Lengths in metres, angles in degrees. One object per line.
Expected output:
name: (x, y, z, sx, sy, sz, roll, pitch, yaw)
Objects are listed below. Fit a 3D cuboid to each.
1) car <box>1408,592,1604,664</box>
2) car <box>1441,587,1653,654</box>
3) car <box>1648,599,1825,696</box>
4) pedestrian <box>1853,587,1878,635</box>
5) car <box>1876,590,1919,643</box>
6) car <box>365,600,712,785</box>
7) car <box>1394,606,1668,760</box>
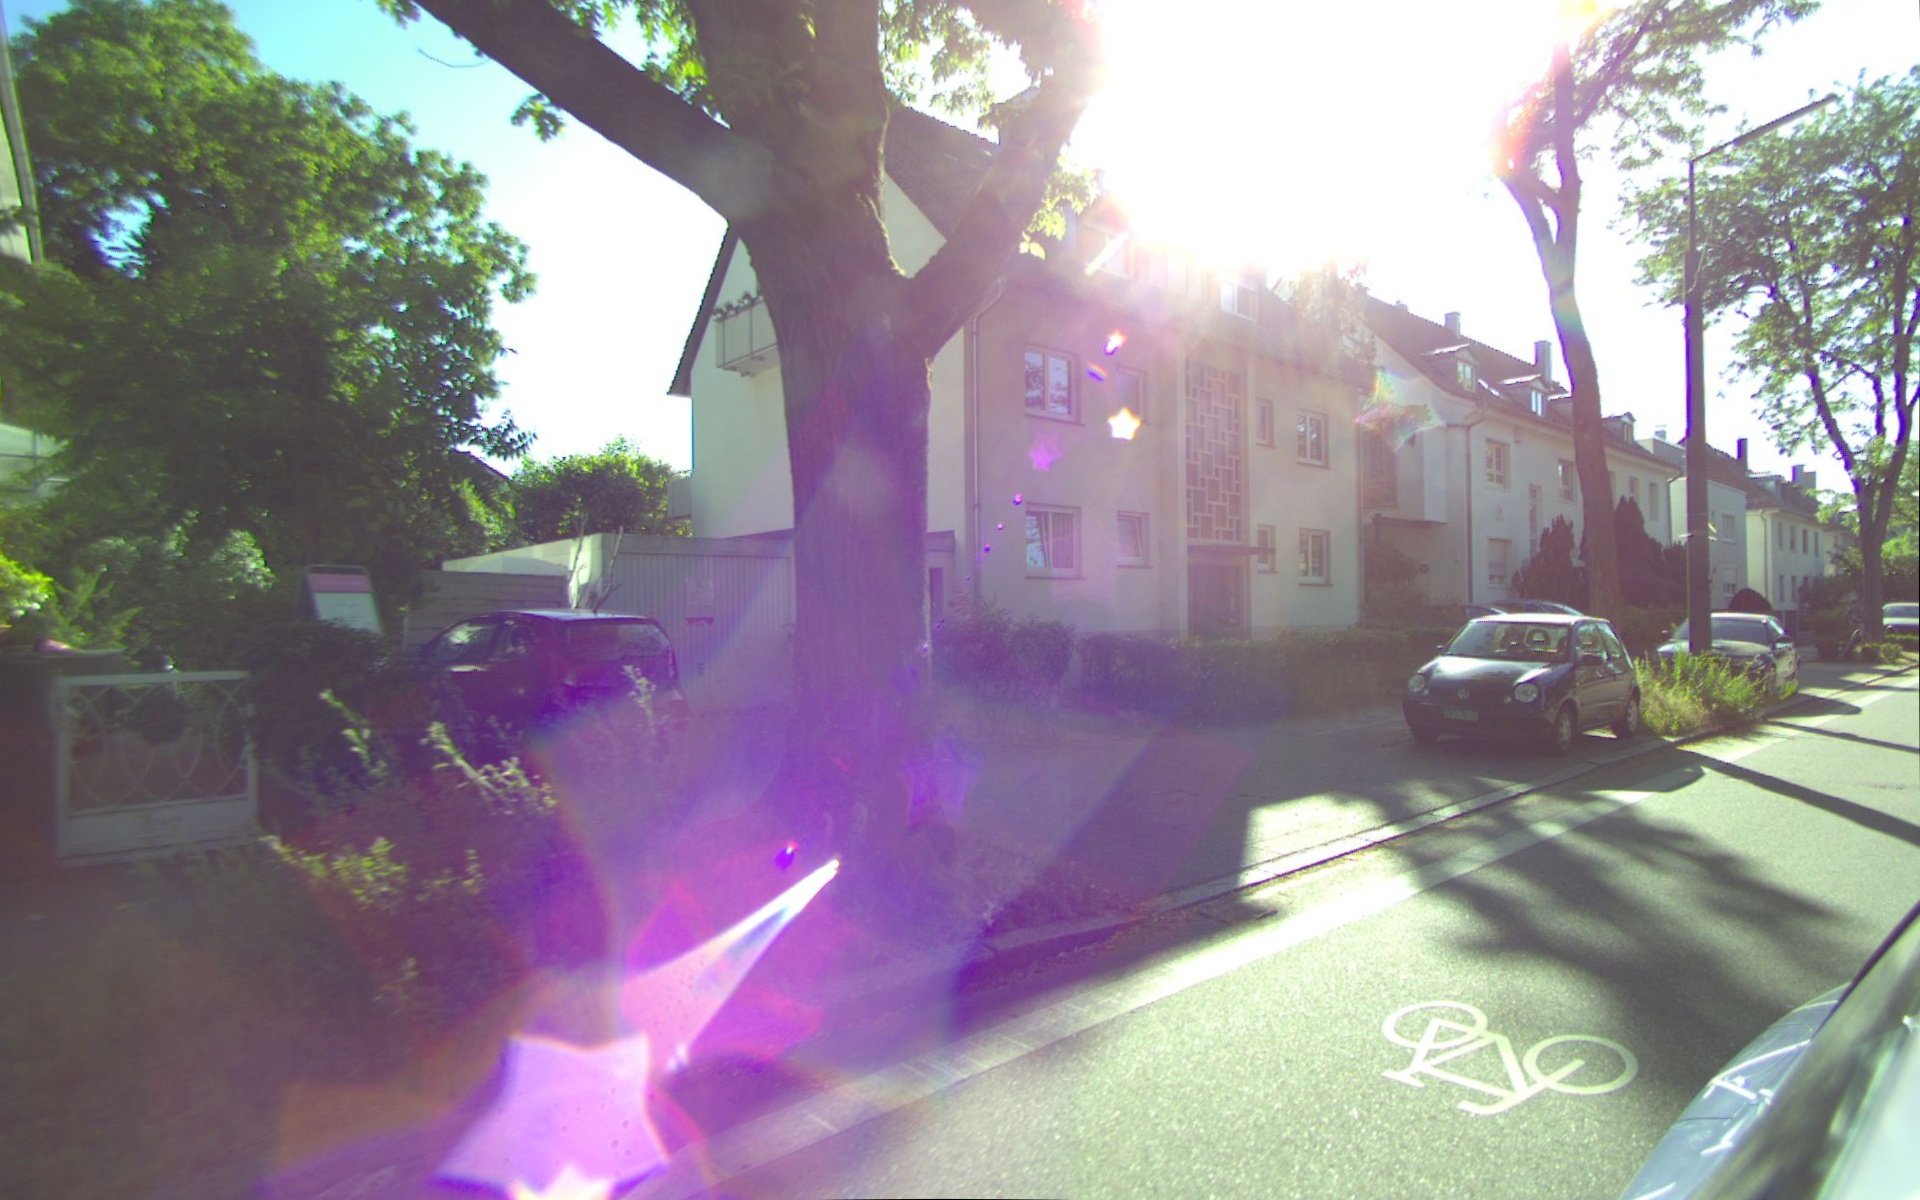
car: (12.719, 0.591, 23.701, 3.739, 1.508, 1.712, 1, 0, 44)
car: (15.278, 0.476, 26.561, 1.824, 1.508, 4.434, 0, 2, -38)
car: (13.920, 0.756, 18.051, 4.228, 1.466, 1.786, 0, 2, -43)
pedestrian: (36.131, 0.424, 40.387, 0.719, 1.893, 0.626, 0, 1, -42)
car: (33.204, 0.552, 34.849, 4.400, 1.725, 1.997, 0, 2, -42)
car: (-4.227, 0.755, 10.002, 3.389, 1.454, 1.711, 1, 1, 37)
car: (6.627, 0.817, 11.613, 3.582, 1.415, 1.630, 0, 2, -41)
